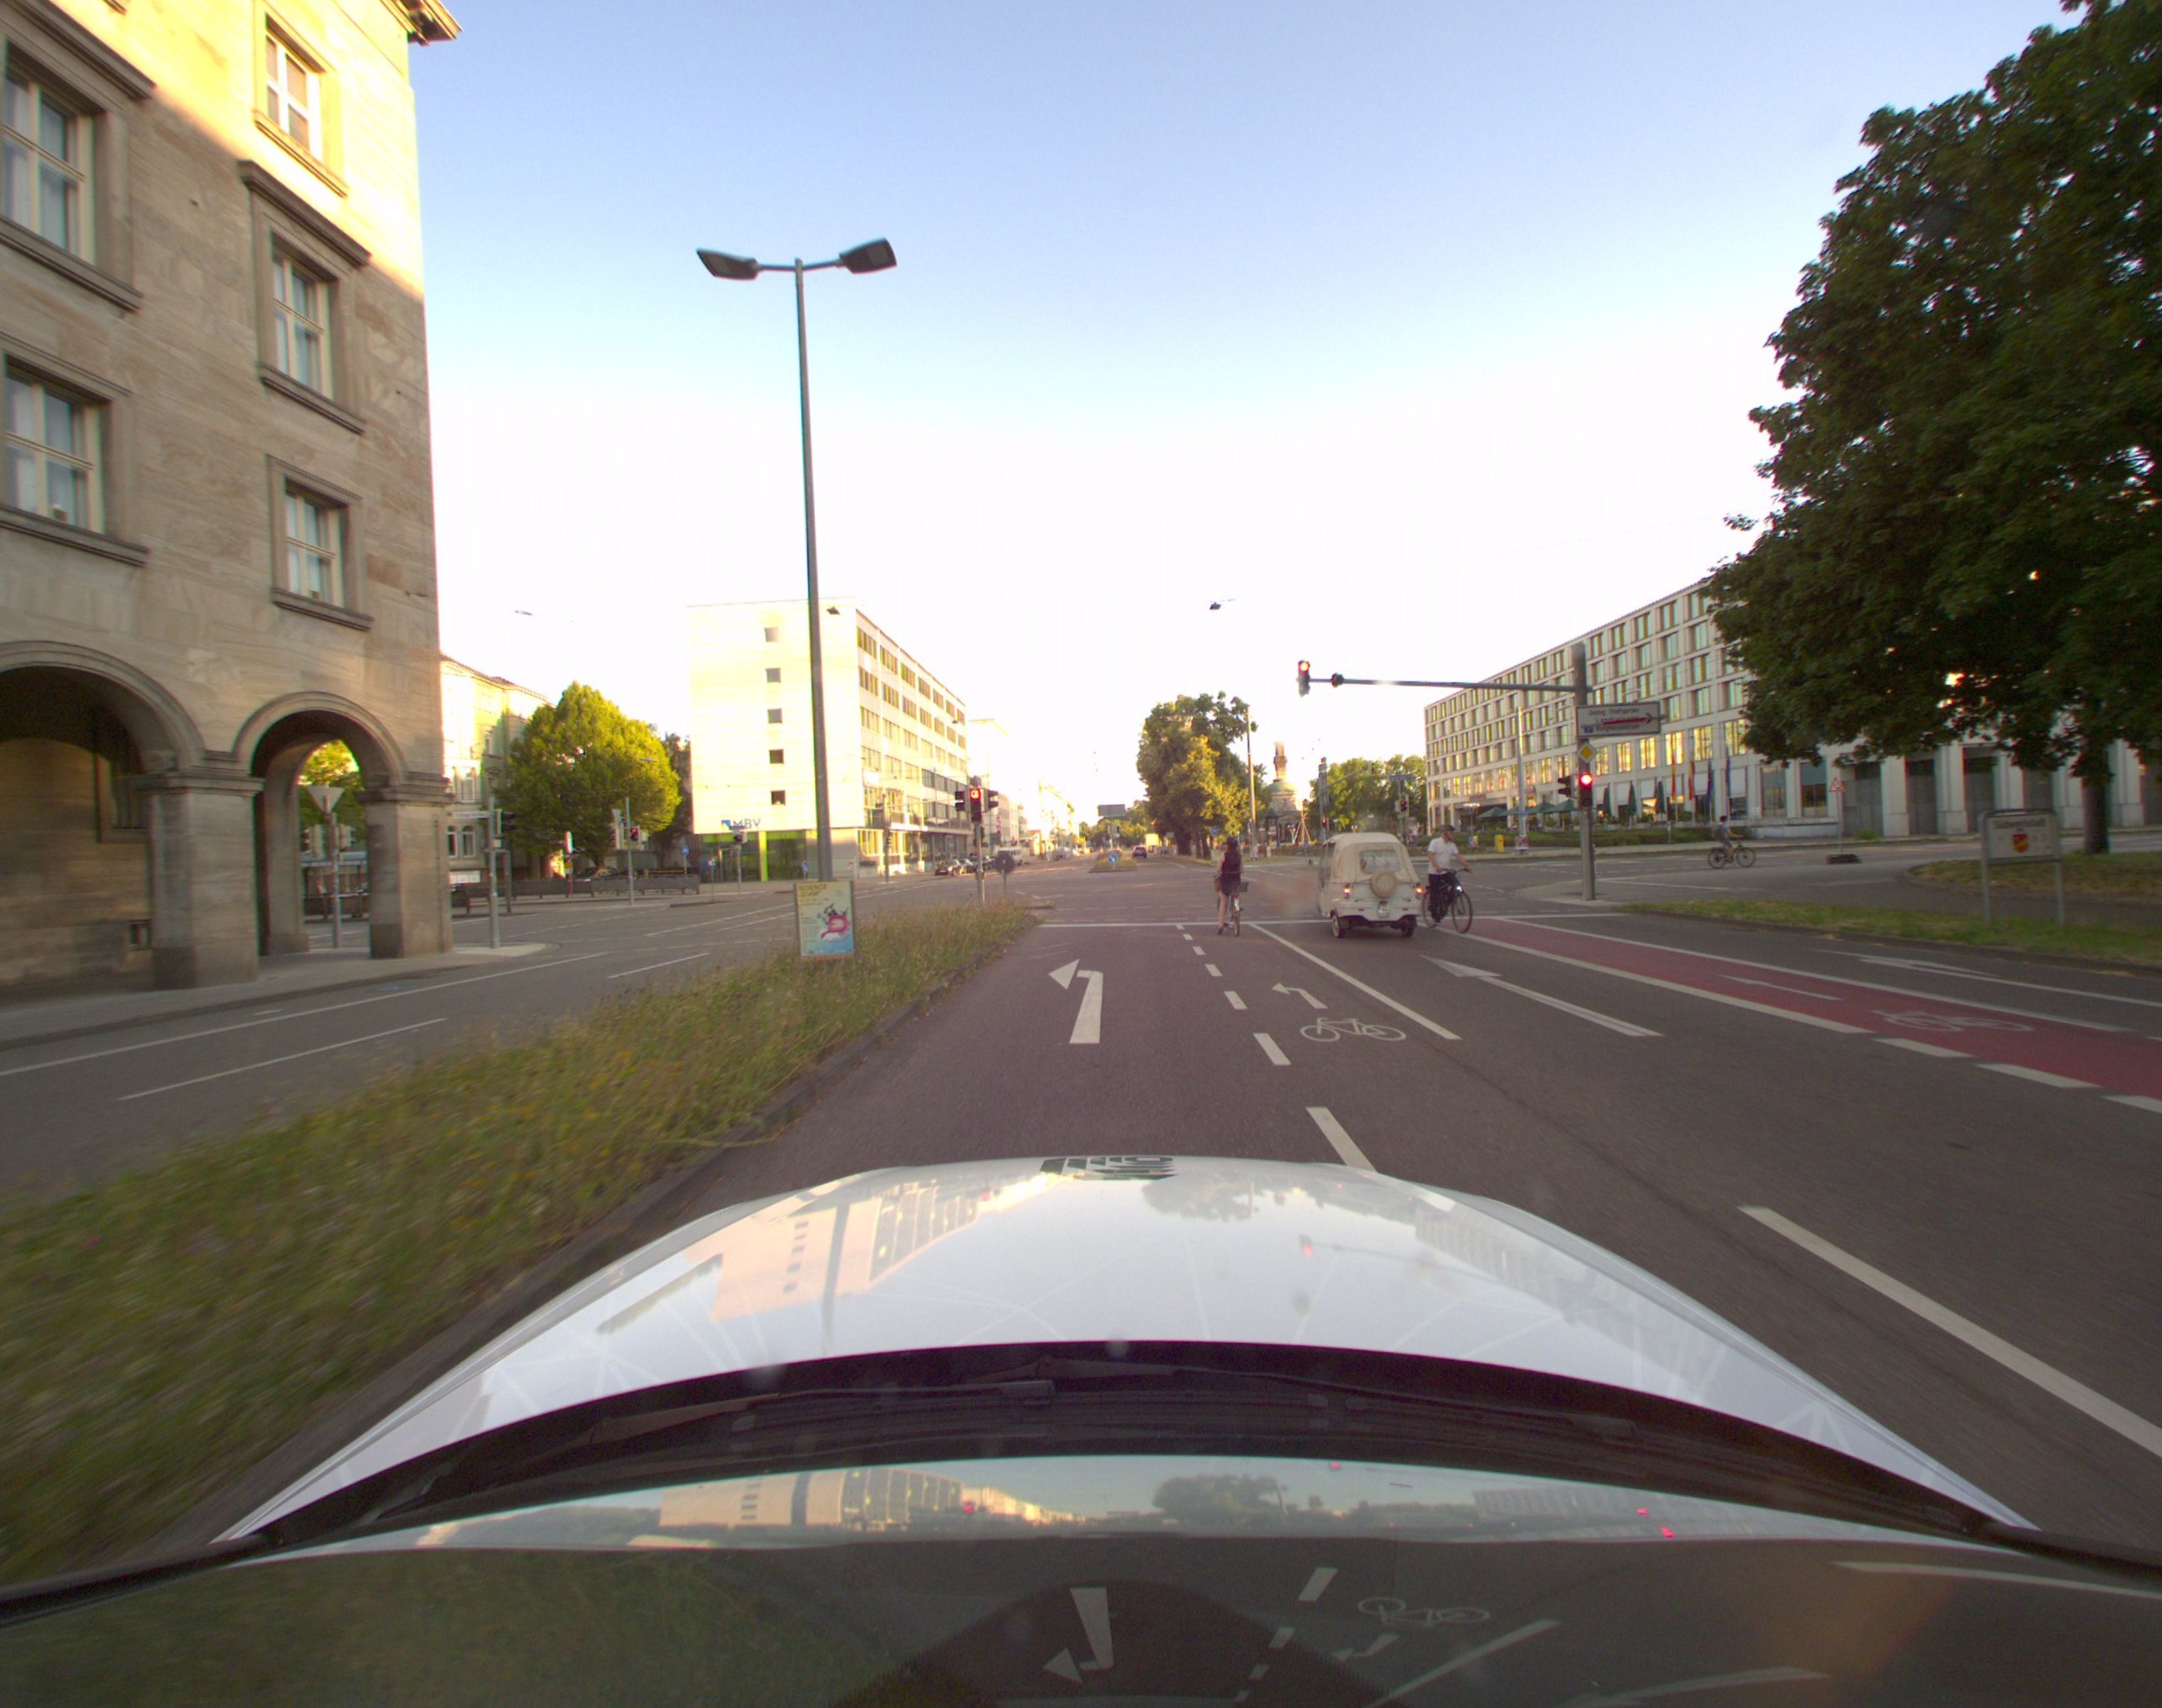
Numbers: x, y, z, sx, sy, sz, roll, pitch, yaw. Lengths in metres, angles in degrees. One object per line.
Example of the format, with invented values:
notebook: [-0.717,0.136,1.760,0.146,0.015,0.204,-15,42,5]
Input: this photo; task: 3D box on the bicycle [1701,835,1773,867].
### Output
bicycle: [23.367,-0.093,29.016,1.887,1.069,0.732,-2,0,5]

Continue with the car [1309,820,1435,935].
car: [4.988,0.341,14.260,1.452,1.780,2.568,-2,1,5]

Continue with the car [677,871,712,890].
car: [-24.639,1.696,51.954,0.850,1.073,2.523,-3,0,2]

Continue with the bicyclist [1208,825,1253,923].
bicyclist: [2.666,0.346,14.614,0.626,1.693,0.749,-3,0,2]

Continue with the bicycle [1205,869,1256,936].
bicycle: [2.711,0.849,14.929,0.635,1.069,2.071,-1,0,3]

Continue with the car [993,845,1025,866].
car: [-9.139,0.253,104.276,2.161,2.385,6.012,-3,-2,14]

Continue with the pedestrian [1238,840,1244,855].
pedestrian: [18.626,-0.745,94.768,0.506,1.668,0.531,-3,0,1]

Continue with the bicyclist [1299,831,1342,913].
bicyclist: [5.118,0.381,17.378,0.740,1.693,0.719,-3,0,21]

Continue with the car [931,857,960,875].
car: [-12.358,1.121,74.708,1.789,1.475,4.001,-3,-2,2]

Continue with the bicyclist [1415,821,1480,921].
bicyclist: [6.521,0.295,14.525,0.760,1.693,0.749,-3,0,2]

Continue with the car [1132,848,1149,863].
car: [8.028,0.194,110.235,1.986,2.013,4.002,-3,0,2]

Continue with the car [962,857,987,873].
car: [-11.098,1.163,85.025,1.789,1.475,4.001,-3,-2,2]

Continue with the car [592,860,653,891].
car: [-33.645,1.563,59.929,1.986,2.013,4.002,-3,0,2]

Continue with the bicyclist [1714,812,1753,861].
bicyclist: [23.263,-0.634,29.037,0.742,1.693,0.716,-3,0,6]

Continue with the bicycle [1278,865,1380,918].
bicycle: [5.270,0.772,17.301,1.997,1.069,0.735,0,0,22]

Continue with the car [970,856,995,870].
car: [-10.993,1.038,91.334,1.787,1.475,4.007,-3,-2,6]

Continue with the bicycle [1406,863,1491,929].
bicycle: [6.548,0.716,14.624,0.725,1.069,1.904,-1,0,2]
